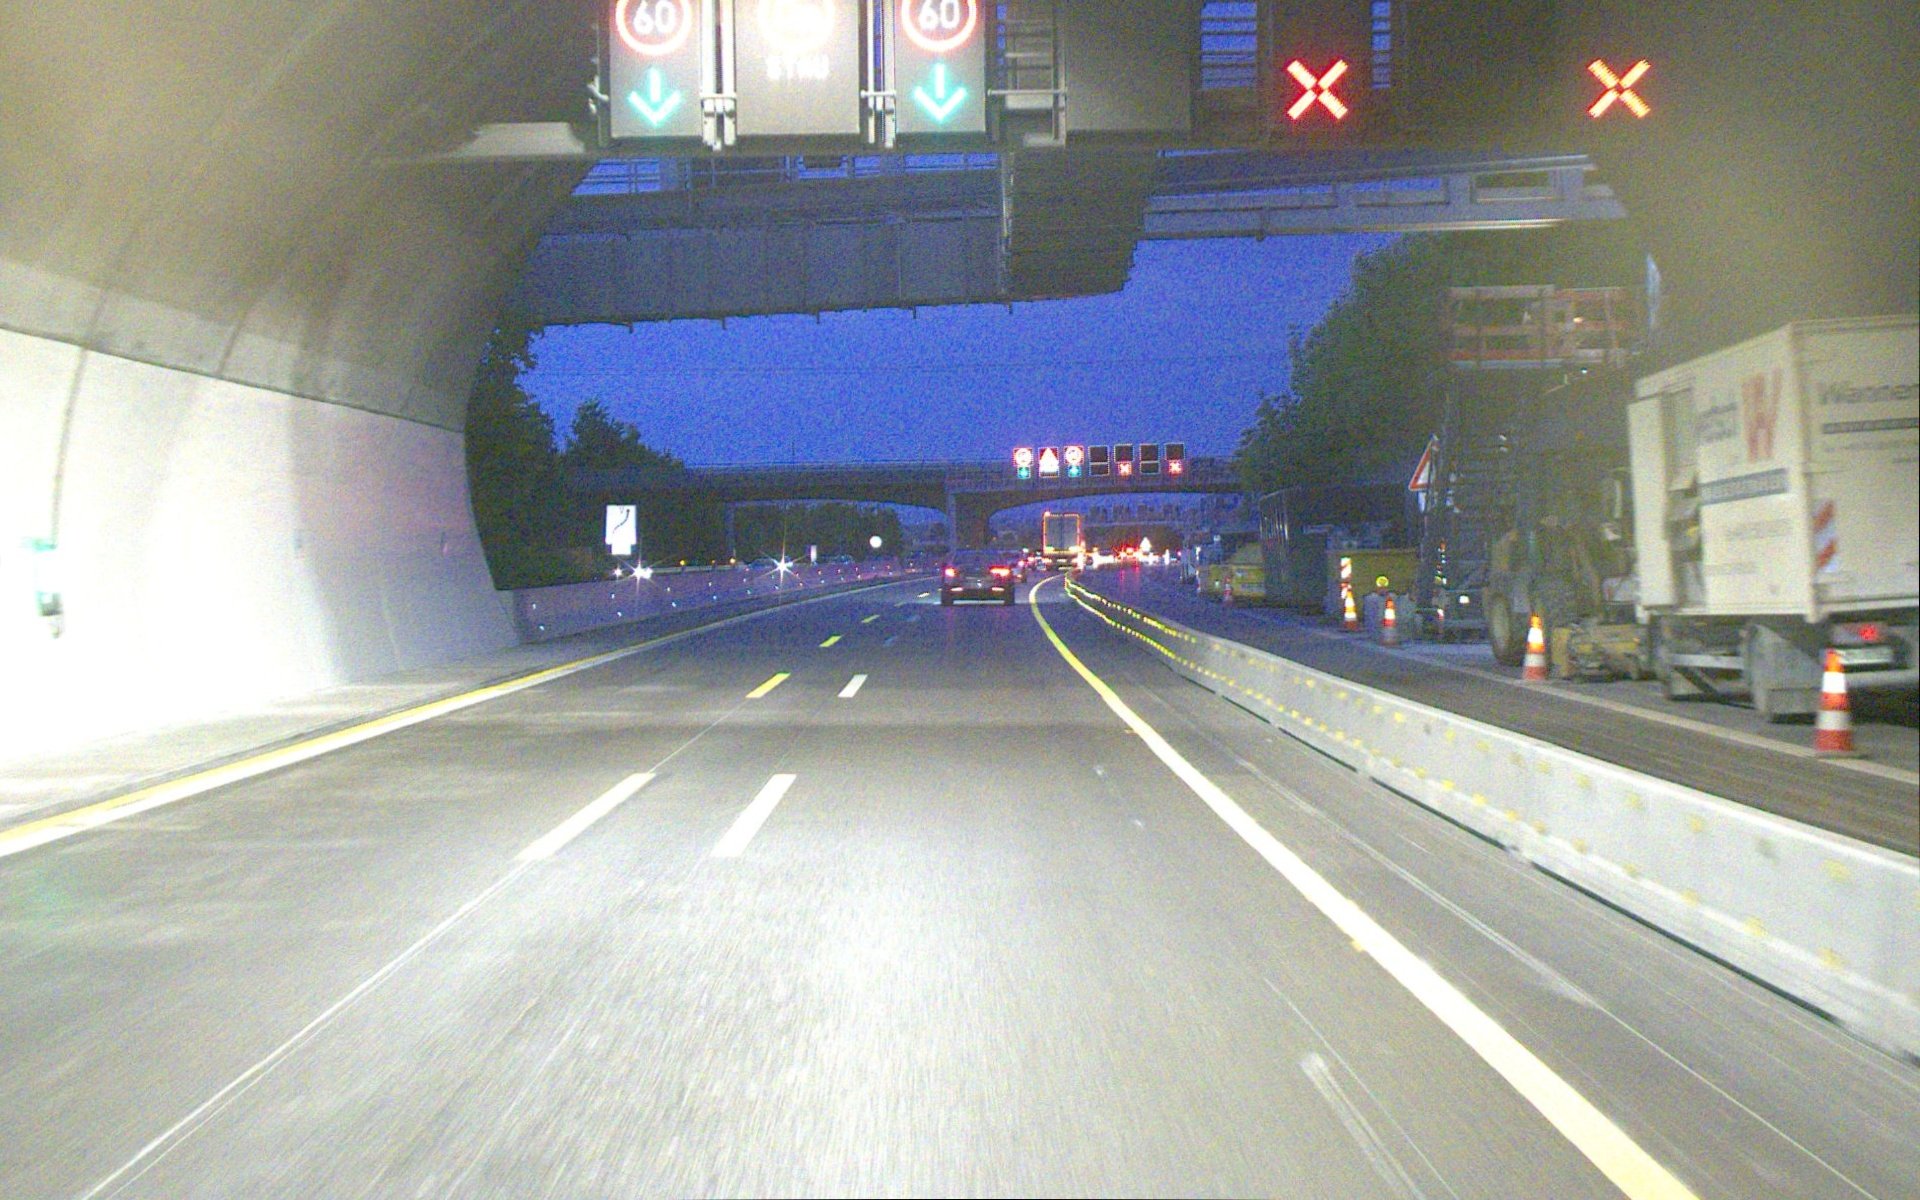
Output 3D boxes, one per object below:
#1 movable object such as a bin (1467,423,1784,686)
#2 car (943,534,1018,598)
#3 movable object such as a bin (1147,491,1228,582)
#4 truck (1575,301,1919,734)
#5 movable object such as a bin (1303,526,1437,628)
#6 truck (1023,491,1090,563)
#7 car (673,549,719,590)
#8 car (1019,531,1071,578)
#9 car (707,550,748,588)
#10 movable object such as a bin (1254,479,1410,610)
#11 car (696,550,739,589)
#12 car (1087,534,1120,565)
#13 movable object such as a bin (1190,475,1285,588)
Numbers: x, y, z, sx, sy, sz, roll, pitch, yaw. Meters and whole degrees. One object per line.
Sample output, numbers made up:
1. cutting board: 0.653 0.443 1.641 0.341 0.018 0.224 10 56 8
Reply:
1. movable object such as a bin: 7.603 -0.521 40.136 2.238 2.784 7.233 0 1 0
2. car: 0.509 -0.870 87.953 1.888 1.601 4.000 0 1 0
3. movable object such as a bin: 8.843 -2.468 134.243 2.737 3.443 6.946 0 1 1
4. truck: 7.621 -0.665 30.092 2.892 3.261 8.401 0 1 0
5. movable object such as a bin: 7.489 -0.427 63.114 1.978 1.809 3.837 0 1 0
6. truck: 6.805 -5.111 243.447 4.546 4.970 9.599 0 1 1
7. car: -13.089 -1.503 170.523 1.993 2.007 4.000 0 1 0
8. car: 3.697 -1.998 149.243 1.994 2.007 3.999 0 1 5
9. car: -12.685 -1.702 187.542 1.993 2.007 4.000 0 1 0
10. movable object such as a bin: 8.124 -1.199 75.808 2.737 2.744 7.049 0 1 1
11. car: -12.735 -1.621 180.618 1.993 2.007 4.000 0 1 0
12. car: 9.305 -3.273 223.337 1.993 2.007 4.000 0 1 1
13. movable object such as a bin: 9.252 -2.265 115.190 2.737 3.666 6.333 0 1 1
